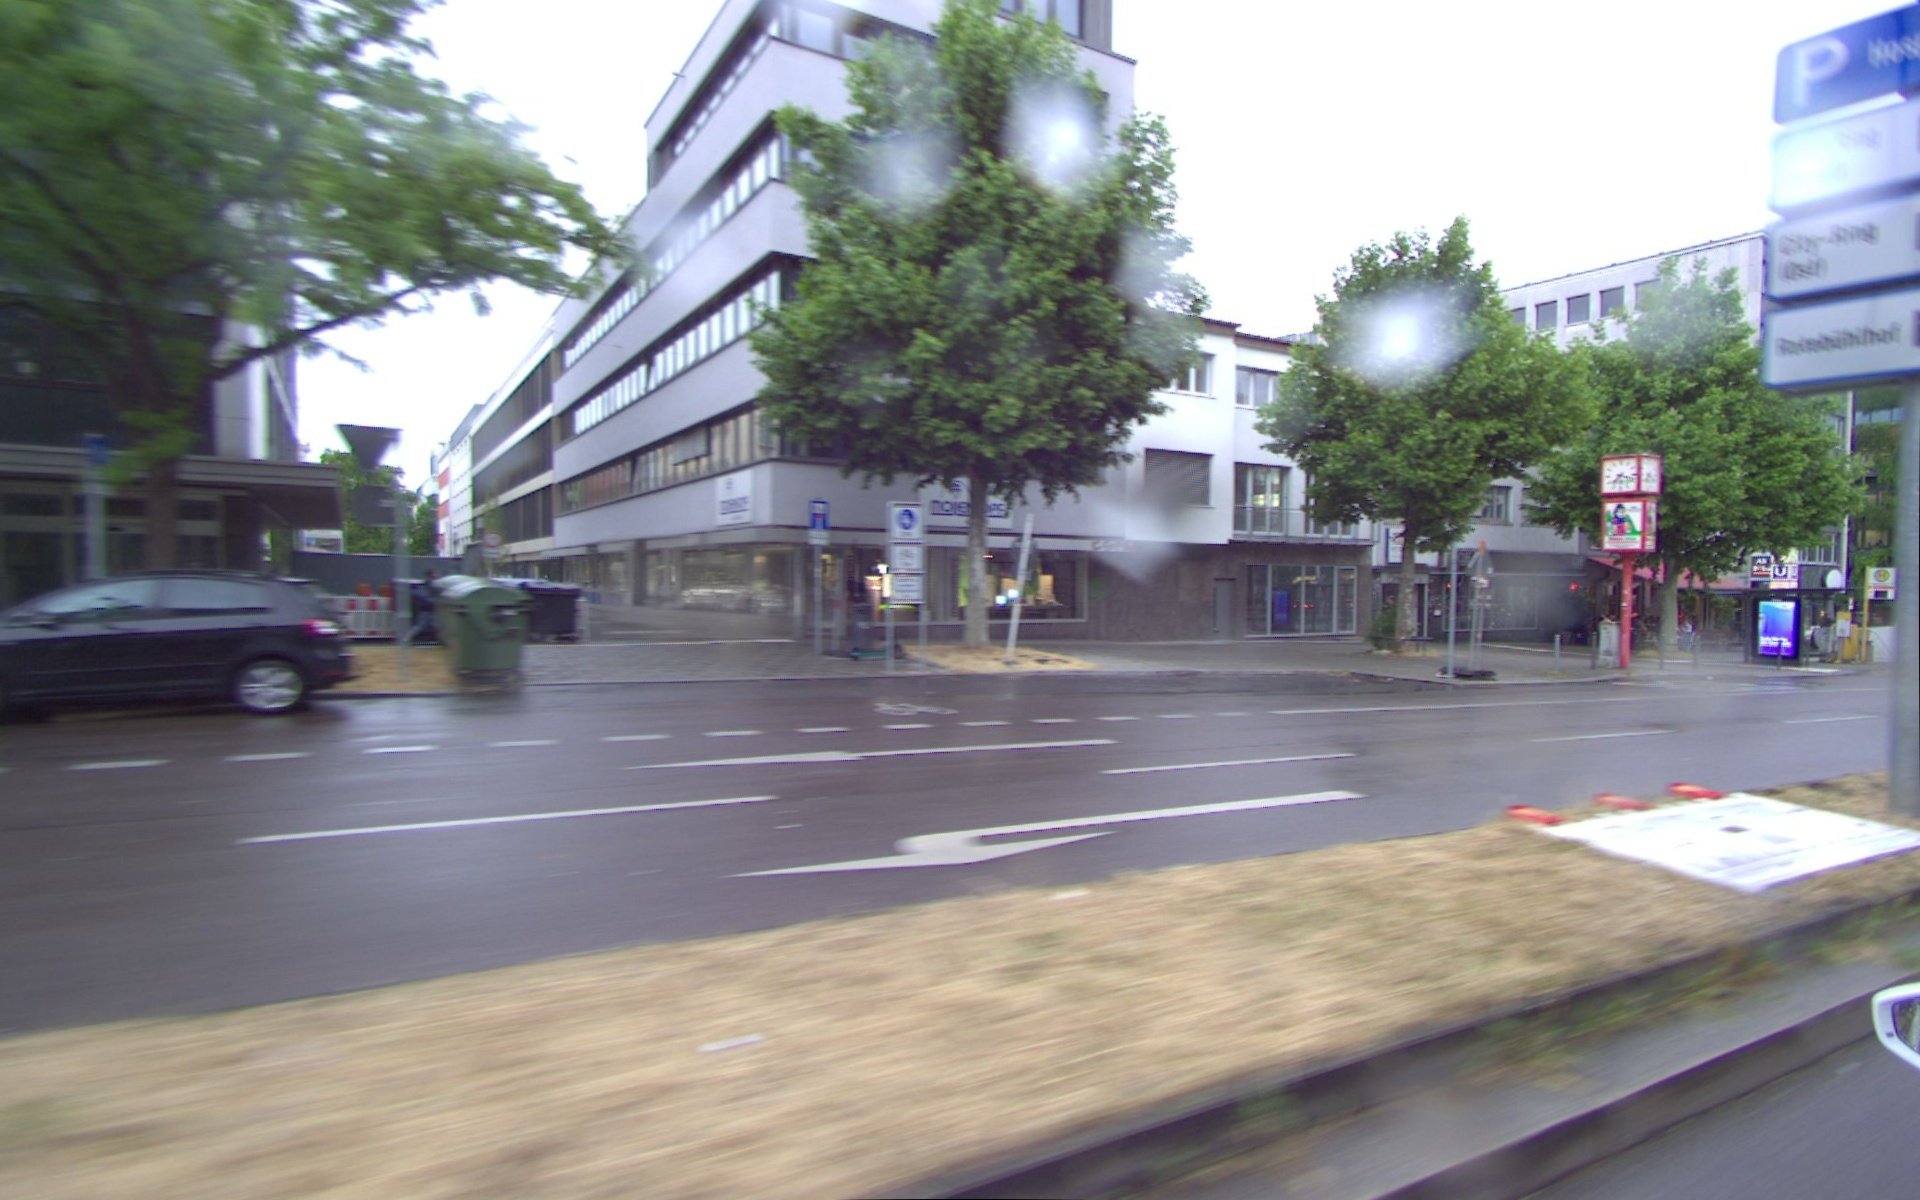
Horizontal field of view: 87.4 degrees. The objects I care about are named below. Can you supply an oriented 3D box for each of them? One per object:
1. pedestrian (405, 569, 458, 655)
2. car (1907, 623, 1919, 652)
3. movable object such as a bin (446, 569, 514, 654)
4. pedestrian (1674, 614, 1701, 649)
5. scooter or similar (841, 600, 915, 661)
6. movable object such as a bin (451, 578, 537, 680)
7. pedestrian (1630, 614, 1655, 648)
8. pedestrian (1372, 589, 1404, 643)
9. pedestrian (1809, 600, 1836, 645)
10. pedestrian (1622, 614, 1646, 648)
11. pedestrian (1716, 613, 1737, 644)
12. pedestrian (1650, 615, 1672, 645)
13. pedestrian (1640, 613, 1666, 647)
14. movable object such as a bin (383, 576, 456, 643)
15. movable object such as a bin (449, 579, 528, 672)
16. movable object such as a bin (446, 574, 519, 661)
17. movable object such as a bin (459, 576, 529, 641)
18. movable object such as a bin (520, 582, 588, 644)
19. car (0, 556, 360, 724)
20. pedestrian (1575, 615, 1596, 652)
[{"bbox_3d":[-10.739,0.237,20.402,0.886,1.711,0.864,1,1,-32],"label":"pedestrian"},{"bbox_3d":[66.464,2.566,67.874,1.984,1.948,3.419,1,0,-40],"label":"car"},{"bbox_3d":[-8.949,0.210,18.696,1.075,1.508,1.273,1,0,-28],"label":"movable object such as a bin"},{"bbox_3d":[31.065,1.335,42.899,0.700,1.470,0.685,1,1,-32],"label":"pedestrian"},{"bbox_3d":[-1.666,0.605,20.435,1.306,1.137,0.772,-2,5,-27],"label":"scooter or similar"},{"bbox_3d":[-6.986,0.410,15.026,1.075,1.445,1.354,1,0,-28],"label":"movable object such as a bin"},{"bbox_3d":[30.098,1.345,44.286,0.576,1.470,0.686,1,1,-31],"label":"pedestrian"},{"bbox_3d":[14.562,0.538,34.185,0.644,1.786,0.694,1,0,-26],"label":"pedestrian"},{"bbox_3d":[37.625,0.985,43.819,0.750,1.910,0.685,1,1,-32],"label":"pedestrian"},{"bbox_3d":[29.529,1.341,44.002,0.541,1.470,0.685,1,1,-32],"label":"pedestrian"},{"bbox_3d":[36.278,1.342,47.514,0.582,1.470,0.599,1,1,-33],"label":"pedestrian"},{"bbox_3d":[32.521,1.393,46.606,0.684,1.374,0.629,1,1,-35],"label":"pedestrian"},{"bbox_3d":[30.964,1.344,44.858,0.684,1.470,0.722,1,1,-35],"label":"pedestrian"},{"bbox_3d":[-12.125,0.216,22.544,1.271,1.455,1.077,1,1,-38],"label":"movable object such as a bin"},{"bbox_3d":[-7.658,0.394,16.291,1.075,1.445,1.273,1,0,-28],"label":"movable object such as a bin"},{"bbox_3d":[-8.308,0.298,17.466,1.075,1.445,1.273,1,0,-28],"label":"movable object such as a bin"},{"bbox_3d":[-10.889,0.194,23.456,1.271,1.455,1.077,1,1,-38],"label":"movable object such as a bin"},{"bbox_3d":[-9.890,0.310,24.479,1.271,1.455,1.077,1,1,-38],"label":"movable object such as a bin"},{"bbox_3d":[-9.064,0.408,11.247,3.978,1.657,1.769,1,0,-31],"label":"car"},{"bbox_3d":[27.440,1.464,44.081,0.599,1.591,0.591,1,0,-38],"label":"pedestrian"}]
